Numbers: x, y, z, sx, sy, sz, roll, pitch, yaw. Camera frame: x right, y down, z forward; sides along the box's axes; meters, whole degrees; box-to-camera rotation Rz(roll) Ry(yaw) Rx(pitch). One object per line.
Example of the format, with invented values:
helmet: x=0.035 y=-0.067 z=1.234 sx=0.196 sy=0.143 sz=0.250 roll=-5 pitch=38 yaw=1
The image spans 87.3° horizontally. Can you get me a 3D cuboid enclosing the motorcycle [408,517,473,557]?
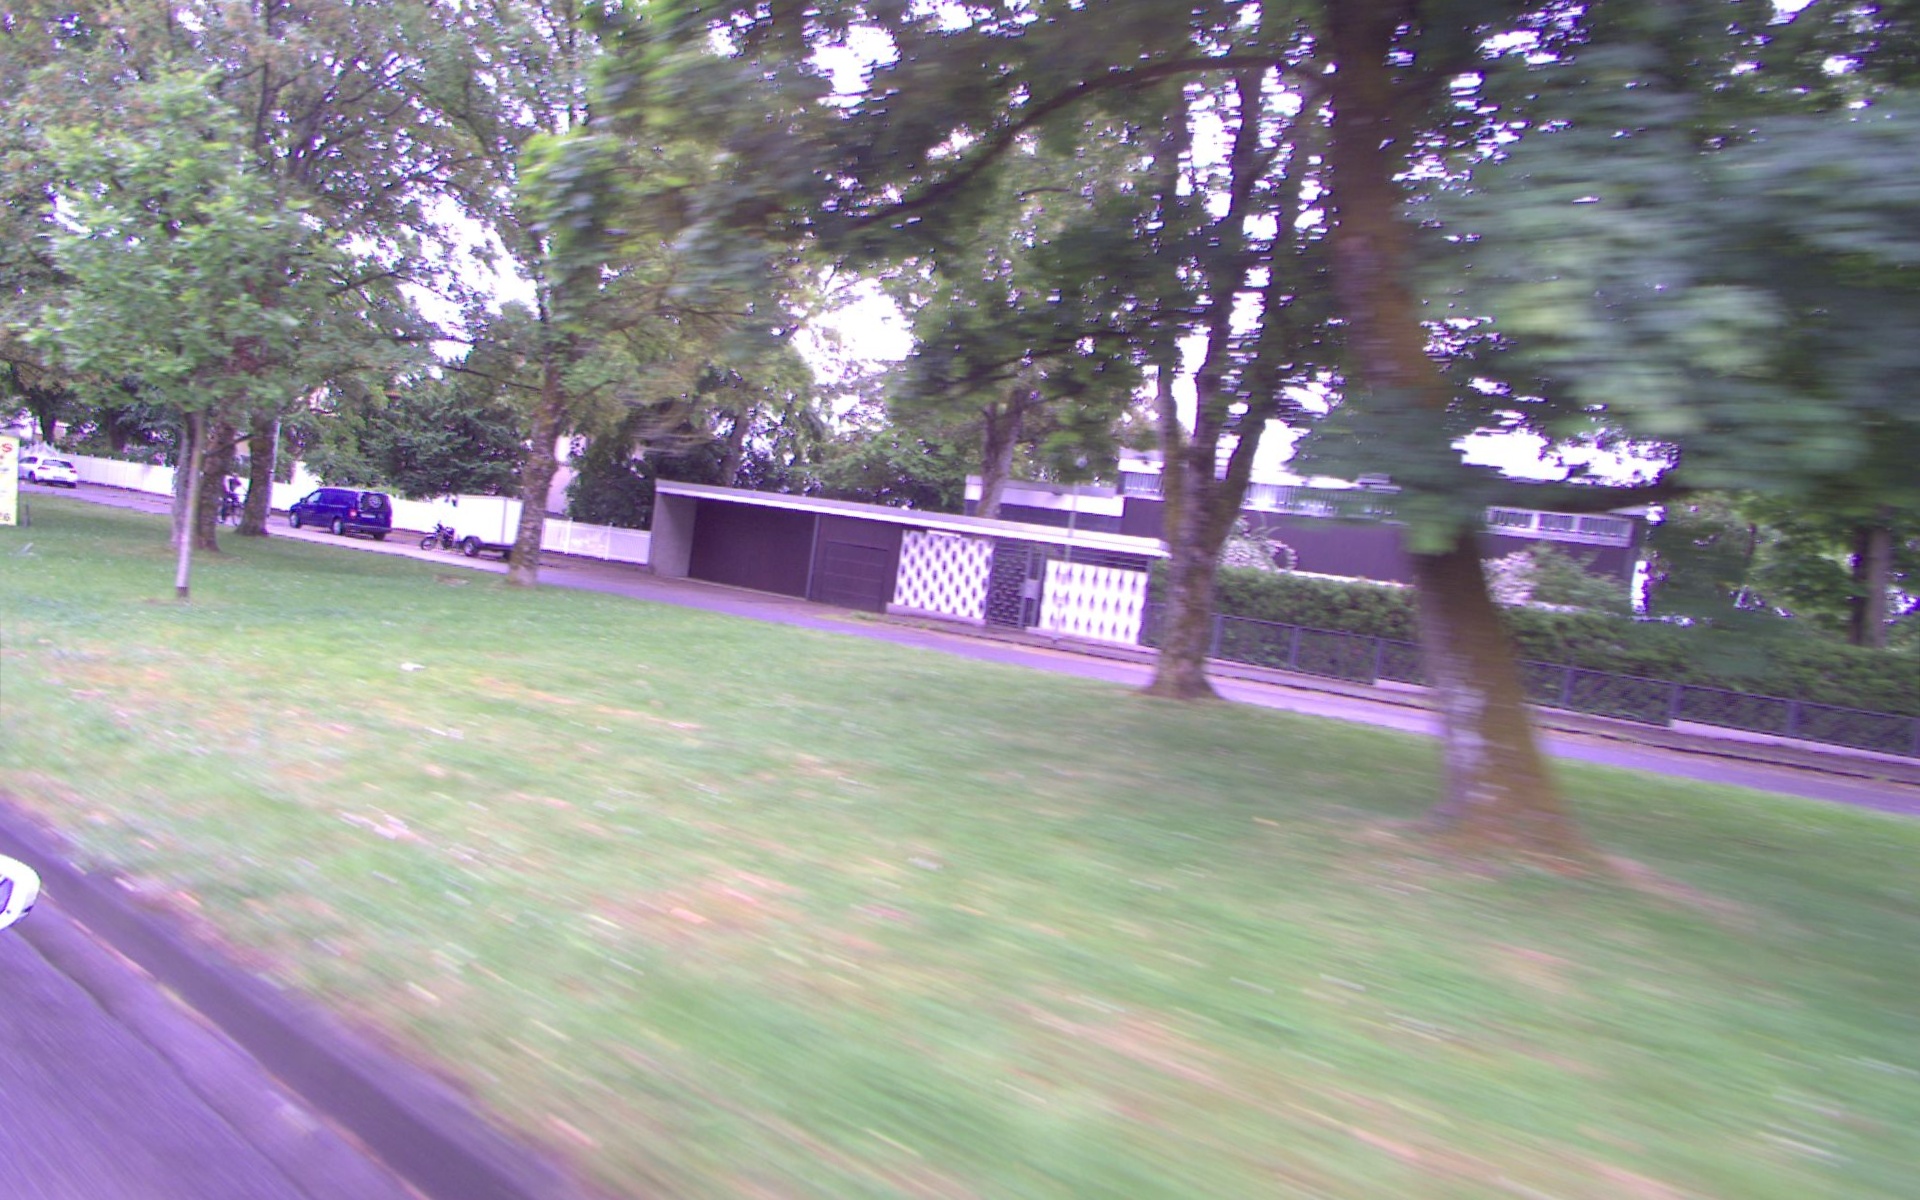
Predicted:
motorcycle: x=-18.254 y=-2.202 z=35.370 sx=1.876 sy=1.107 sz=0.651 roll=7 pitch=3 yaw=-39

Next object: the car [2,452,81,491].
car: x=-46.752 y=-6.547 z=51.188 sx=3.939 sy=1.428 sz=1.618 roll=9 pitch=3 yaw=27

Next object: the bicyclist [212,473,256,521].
bicyclist: x=-23.798 y=-3.368 z=32.965 sx=0.983 sy=1.408 sz=0.745 roll=7 pitch=1 yaw=32

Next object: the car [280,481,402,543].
car: x=-24.043 y=-3.422 z=39.045 sx=4.568 sy=1.834 sz=1.943 roll=9 pitch=3 yaw=29

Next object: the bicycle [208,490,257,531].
bicycle: x=-23.857 y=-2.936 z=32.984 sx=1.832 sy=1.153 sz=0.596 roll=7 pitch=1 yaw=32

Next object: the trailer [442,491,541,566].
trailer: x=-16.142 y=-2.465 z=34.624 sx=2.898 sy=2.182 sz=1.439 roll=7 pitch=1 yaw=27
